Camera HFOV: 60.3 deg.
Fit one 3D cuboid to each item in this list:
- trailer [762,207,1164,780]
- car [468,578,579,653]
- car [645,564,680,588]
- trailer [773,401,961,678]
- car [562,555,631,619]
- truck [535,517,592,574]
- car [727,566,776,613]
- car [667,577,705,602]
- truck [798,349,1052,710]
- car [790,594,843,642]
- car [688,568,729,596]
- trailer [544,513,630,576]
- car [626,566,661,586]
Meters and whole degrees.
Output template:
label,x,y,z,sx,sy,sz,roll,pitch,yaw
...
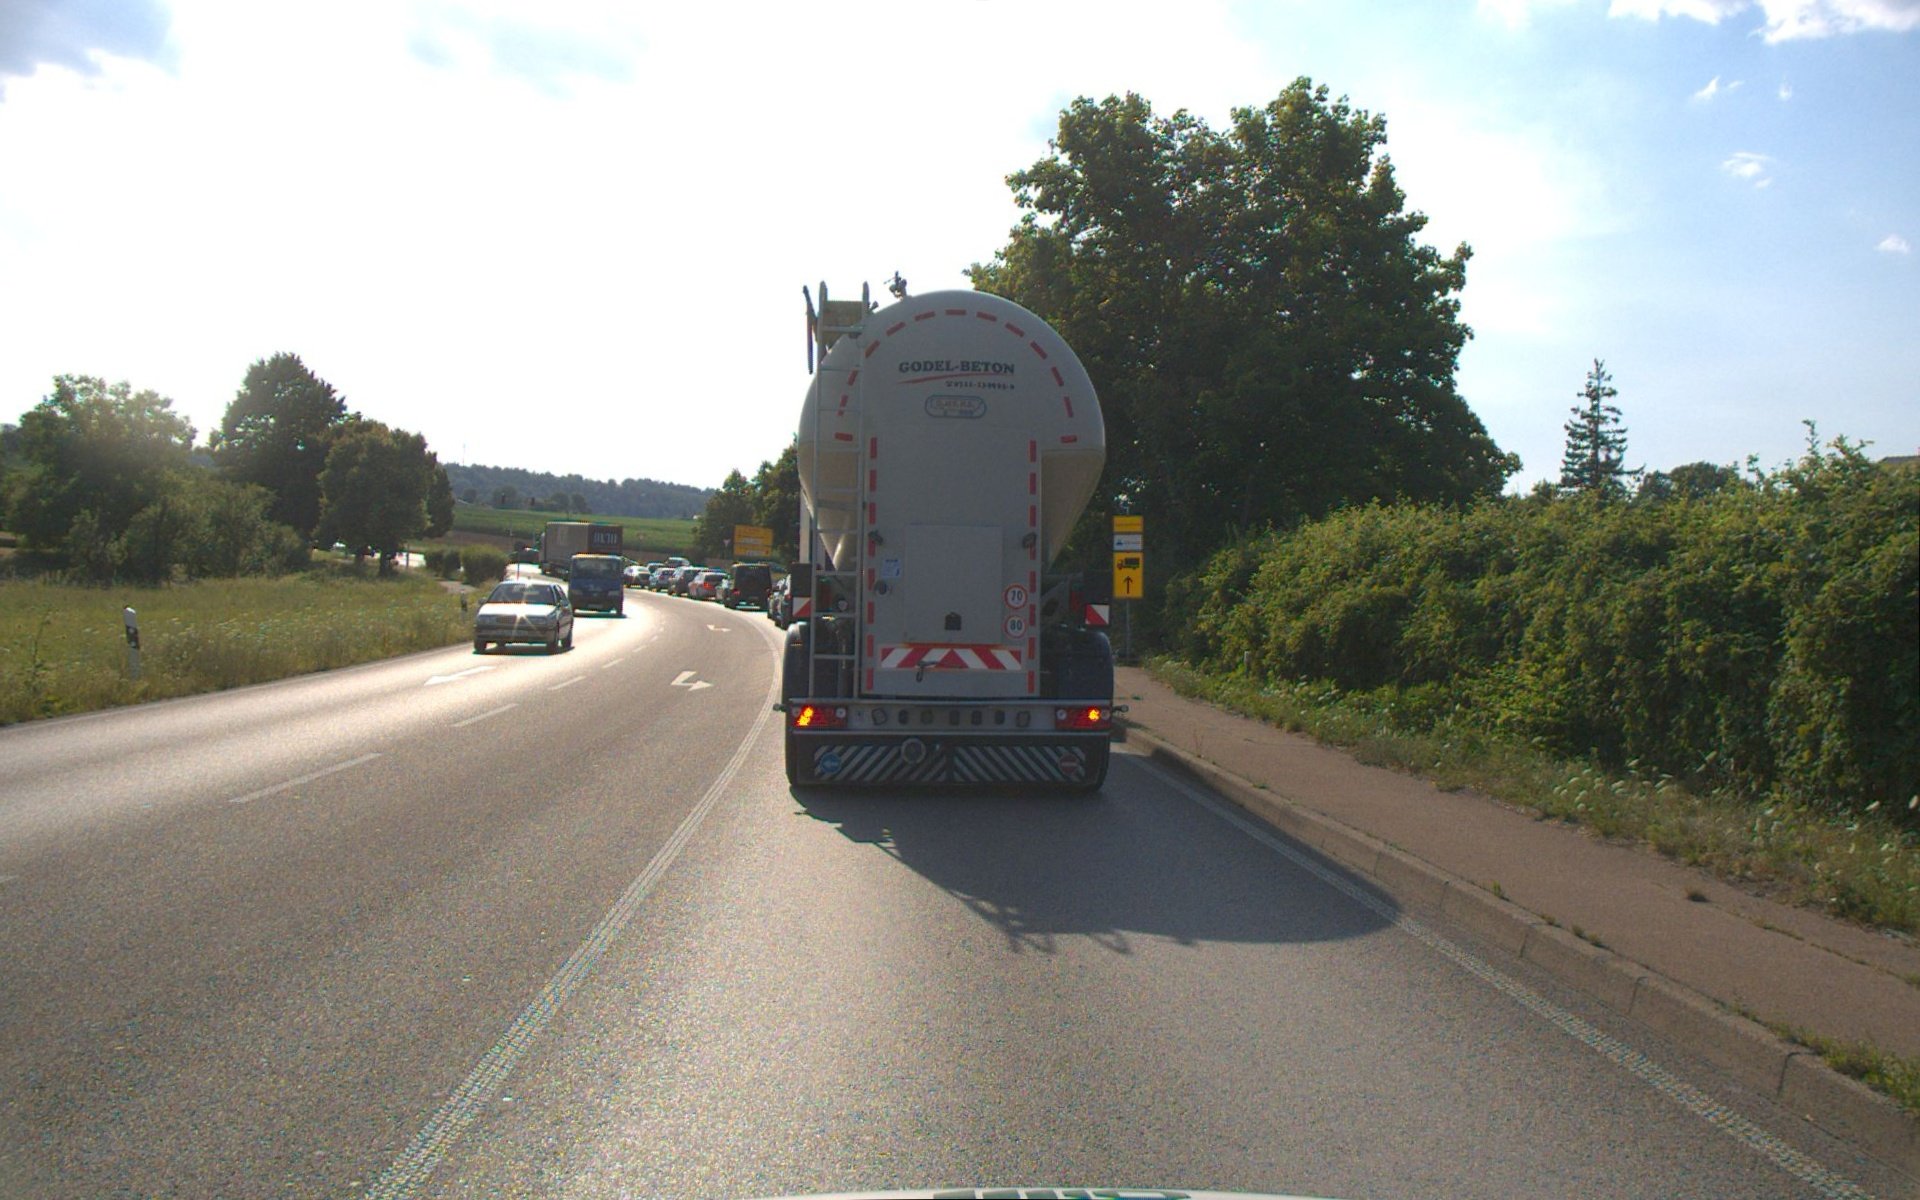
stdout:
label,x,y,z,sx,sy,sz,roll,pitch,yaw
trailer,-0.265,-0.789,16.881,2.852,4.076,9.923,1,0,-4
car,-9.192,0.298,35.126,1.674,1.453,4.172,1,0,-7
car,-18.468,-1.502,102.570,1.557,1.364,3.406,2,1,-19
trailer,-1.762,-1.053,33.929,2.895,4.390,14.170,2,0,-2
car,-13.144,-0.464,60.078,1.960,2.174,4.772,1,0,-7
truck,-32.054,-4.379,133.578,3.333,4.426,5.661,2,0,-25
car,-9.414,-0.478,74.407,1.829,2.049,3.707,1,1,-13
car,-15.690,-0.609,94.556,1.557,1.364,3.406,2,1,-19
truck,-0.506,-0.814,20.955,2.852,4.076,4.057,1,0,-4
car,-4.522,0.543,51.925,1.550,1.364,3.421,2,0,-6
car,-13.466,-0.966,88.490,1.557,1.364,3.406,2,1,-19
trailer,-28.581,-4.167,126.046,3.333,4.426,14.181,2,1,-25
car,-20.836,-1.607,108.742,1.743,1.227,3.406,2,1,-20
